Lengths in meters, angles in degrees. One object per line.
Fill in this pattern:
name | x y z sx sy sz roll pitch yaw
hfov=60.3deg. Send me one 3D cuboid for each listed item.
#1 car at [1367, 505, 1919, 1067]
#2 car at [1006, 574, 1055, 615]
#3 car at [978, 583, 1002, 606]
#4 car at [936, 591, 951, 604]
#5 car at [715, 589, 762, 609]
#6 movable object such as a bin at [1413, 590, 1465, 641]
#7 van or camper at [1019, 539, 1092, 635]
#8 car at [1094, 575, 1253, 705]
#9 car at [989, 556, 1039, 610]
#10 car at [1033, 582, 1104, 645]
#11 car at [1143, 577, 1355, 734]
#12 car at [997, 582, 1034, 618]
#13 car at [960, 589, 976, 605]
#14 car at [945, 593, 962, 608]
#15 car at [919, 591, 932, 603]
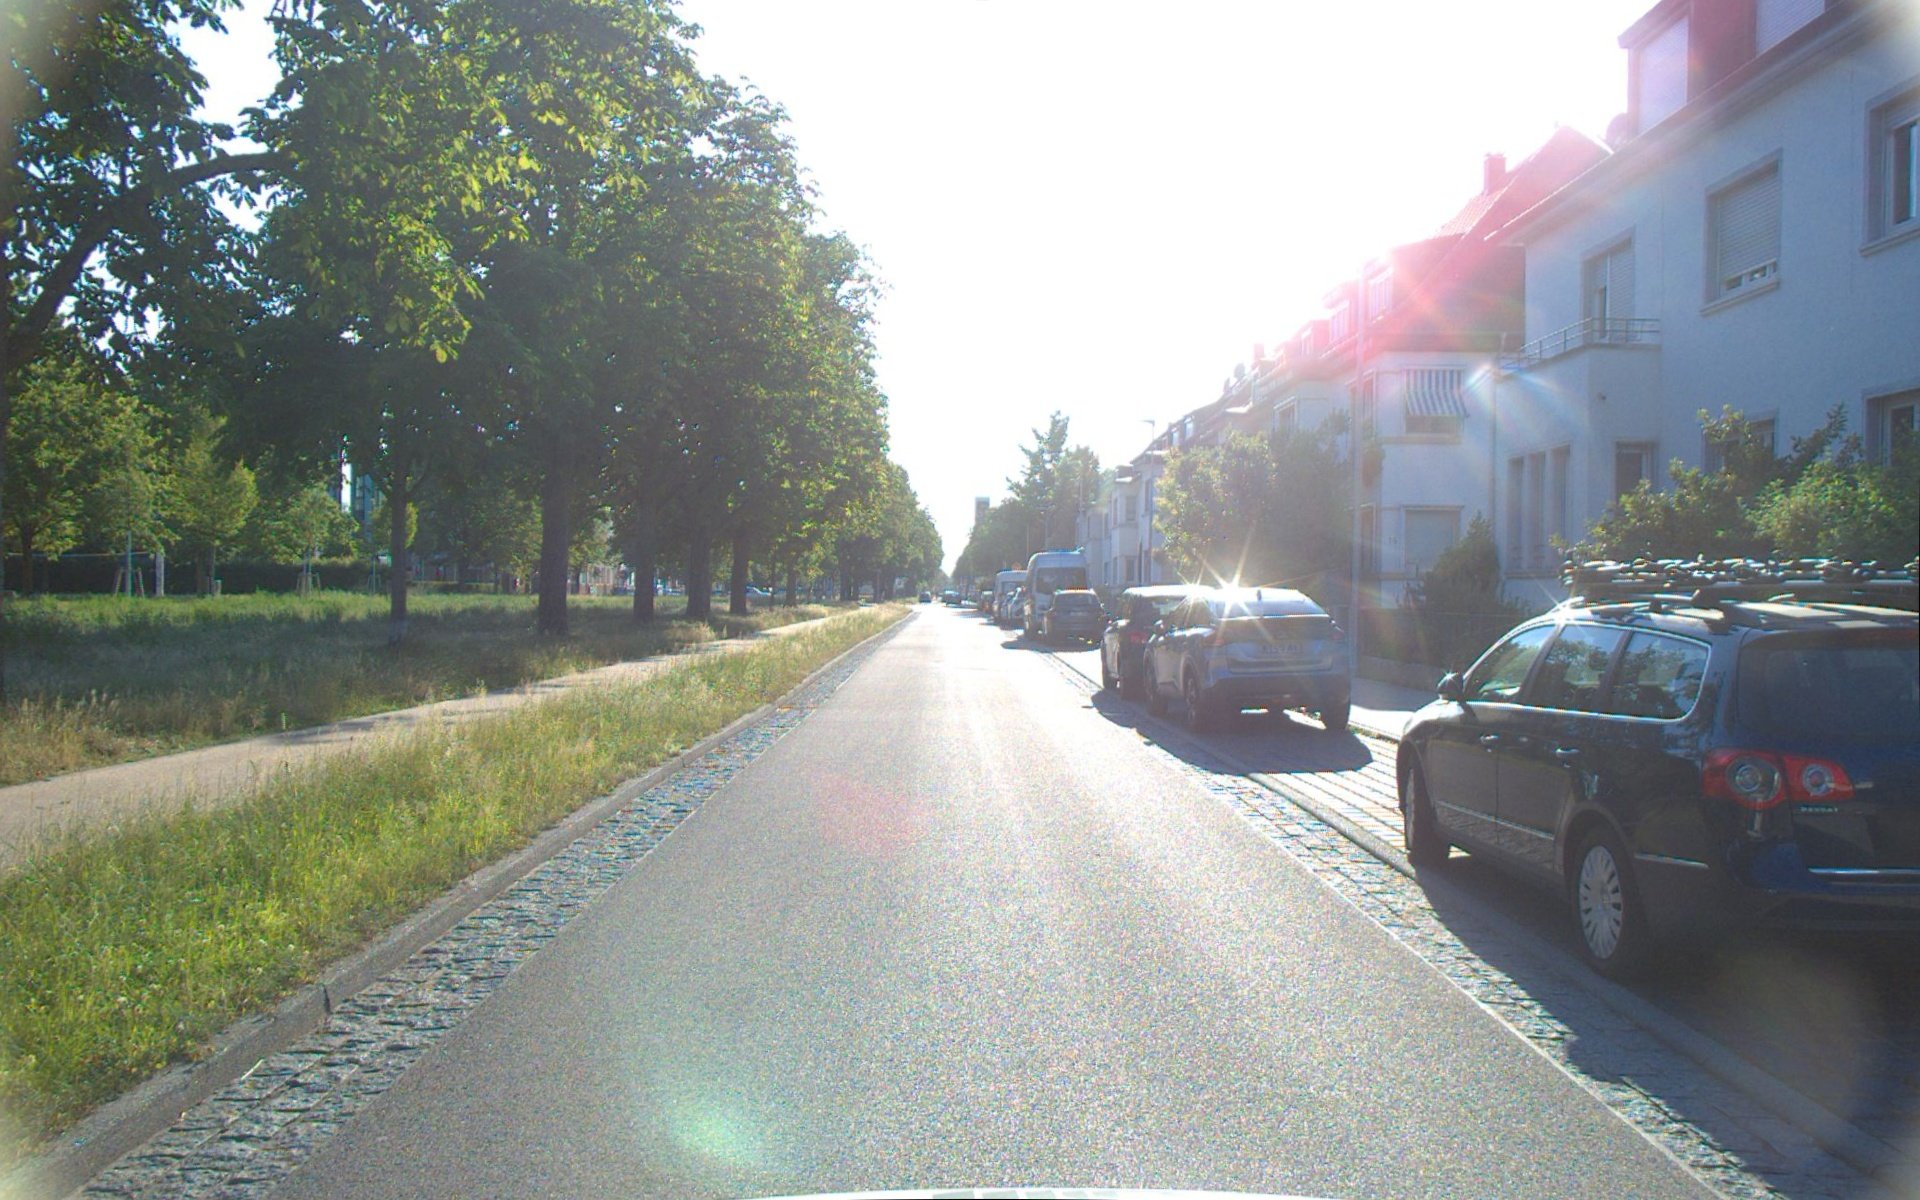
car | 3.340 0.546 7.607 1.757 1.802 4.472 -2 1 -1
car | 2.997 -0.263 71.270 1.800 1.664 4.130 -1 1 -2
car | 2.044 -0.401 114.579 1.616 1.557 3.851 -1 1 1
car | -2.225 -0.339 220.697 1.825 1.625 3.869 1 0 -1
car | -20.804 -0.096 155.325 4.265 1.795 1.996 1 0 -9
movable object such as a bin | 10.813 0.345 37.345 0.964 1.119 0.790 1 0 3
van or camper | 2.966 -0.381 52.565 1.904 2.826 5.939 1 0 0
car | 3.163 0.532 25.303 1.795 1.714 4.415 2 1 0
car | 2.678 -0.885 82.901 2.084 2.577 5.186 -1 1 -2
car | 2.992 0.341 46.262 1.630 1.620 4.086 -2 1 0
car | 3.279 0.562 19.538 1.683 1.601 4.210 -2 1 -1
car | 2.572 -0.024 76.747 1.616 1.557 3.851 -1 1 1
car | 0.802 -0.296 170.389 1.616 1.557 3.851 -1 1 1
car | -0.792 0.020 188.704 1.825 1.625 3.893 1 0 -1
car | -4.785 -0.449 230.118 1.825 1.625 3.869 1 0 -1
